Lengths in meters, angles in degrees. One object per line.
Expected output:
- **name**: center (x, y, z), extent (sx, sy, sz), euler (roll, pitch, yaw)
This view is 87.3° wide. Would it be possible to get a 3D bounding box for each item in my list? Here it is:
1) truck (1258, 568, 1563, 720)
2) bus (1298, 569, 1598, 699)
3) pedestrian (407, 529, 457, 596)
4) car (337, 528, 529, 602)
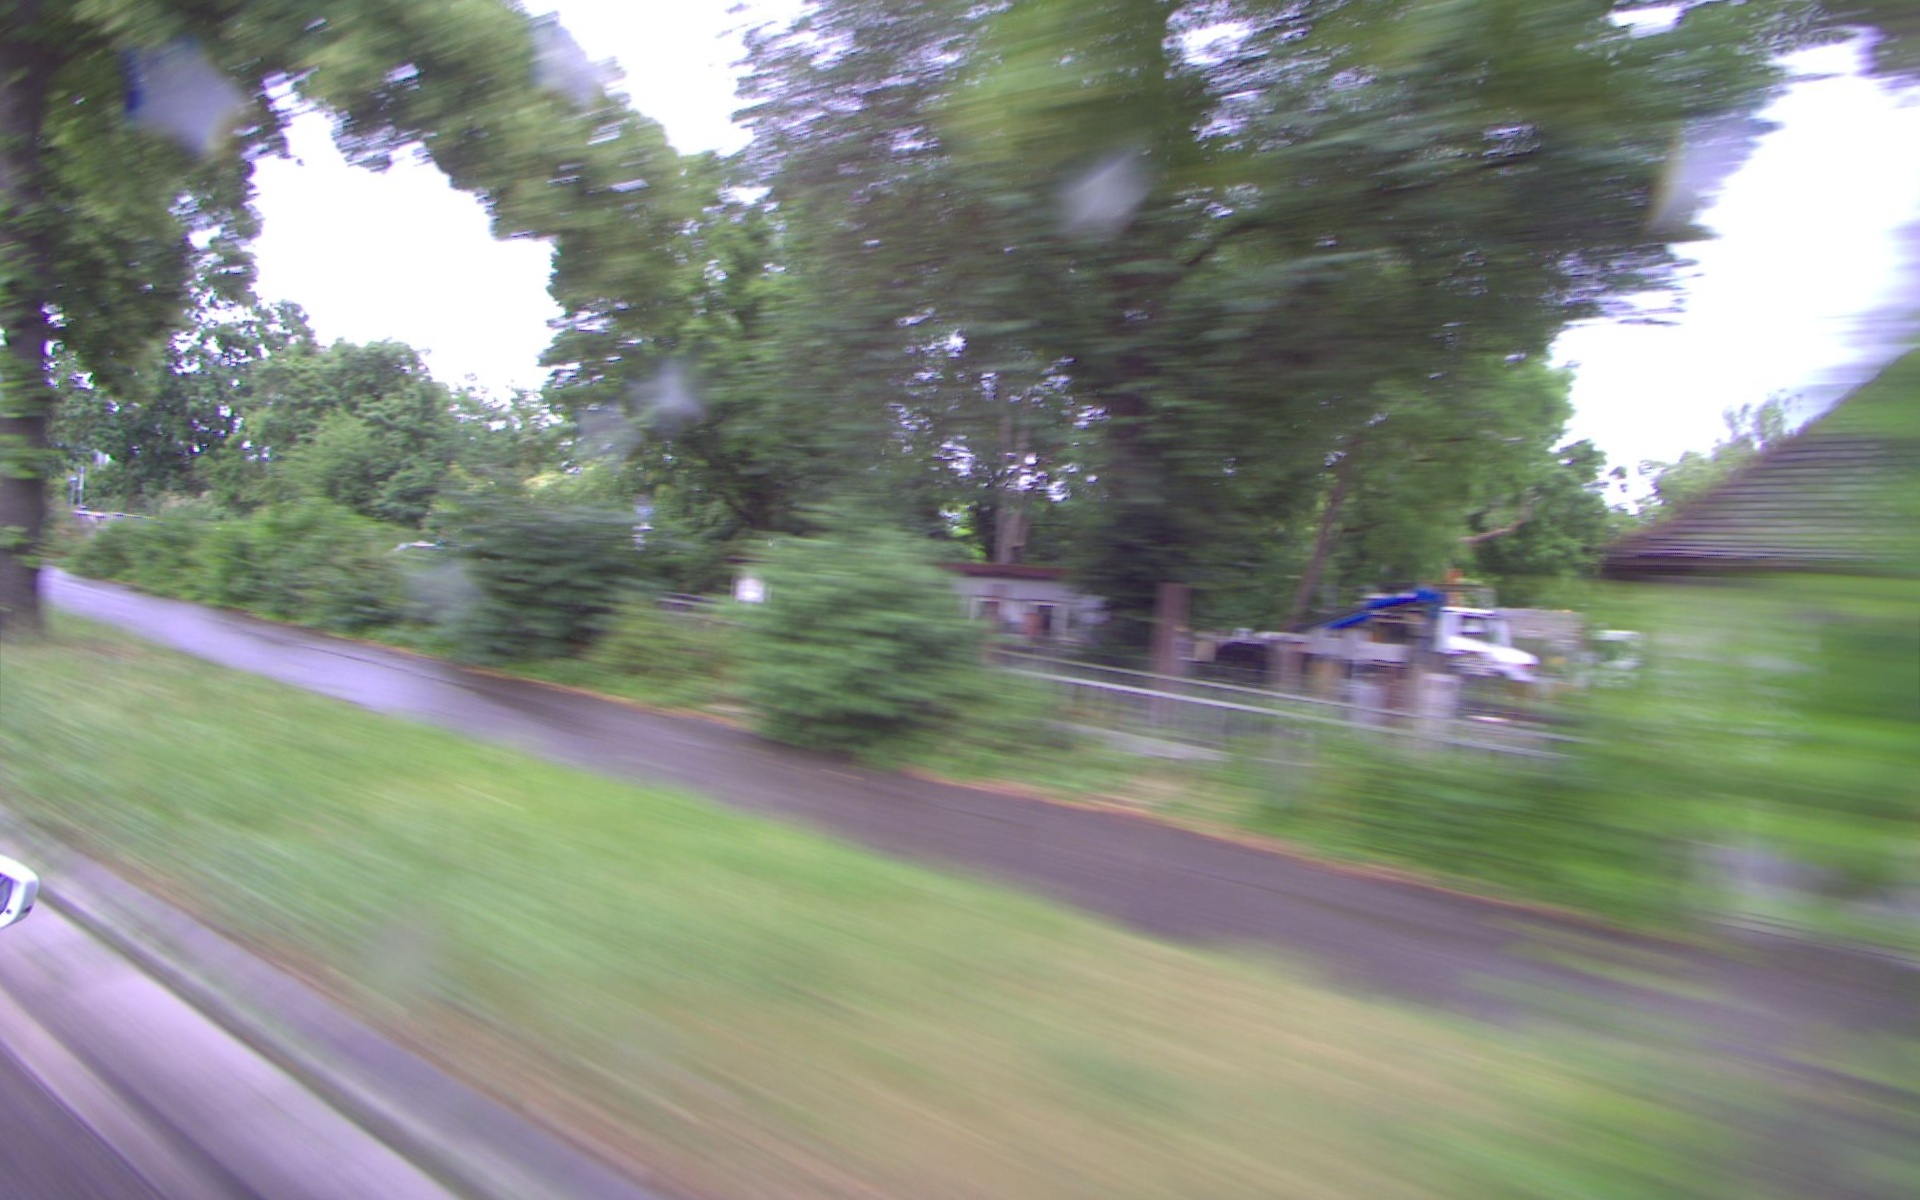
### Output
- **truck**: center (11.165, 1.007, 25.301), extent (6.492, 2.904, 2.056), euler (7, 1, 29)
- **bus**: center (13.503, 0.865, 28.213), extent (7.057, 2.735, 2.251), euler (7, 1, 36)
- **pedestrian**: center (-15.037, -1.056, 28.692), extent (0.927, 1.795, 0.894), euler (5, 3, -9)
- **car**: center (-15.638, -1.009, 30.103), extent (4.571, 1.599, 1.997), euler (7, 0, -9)
